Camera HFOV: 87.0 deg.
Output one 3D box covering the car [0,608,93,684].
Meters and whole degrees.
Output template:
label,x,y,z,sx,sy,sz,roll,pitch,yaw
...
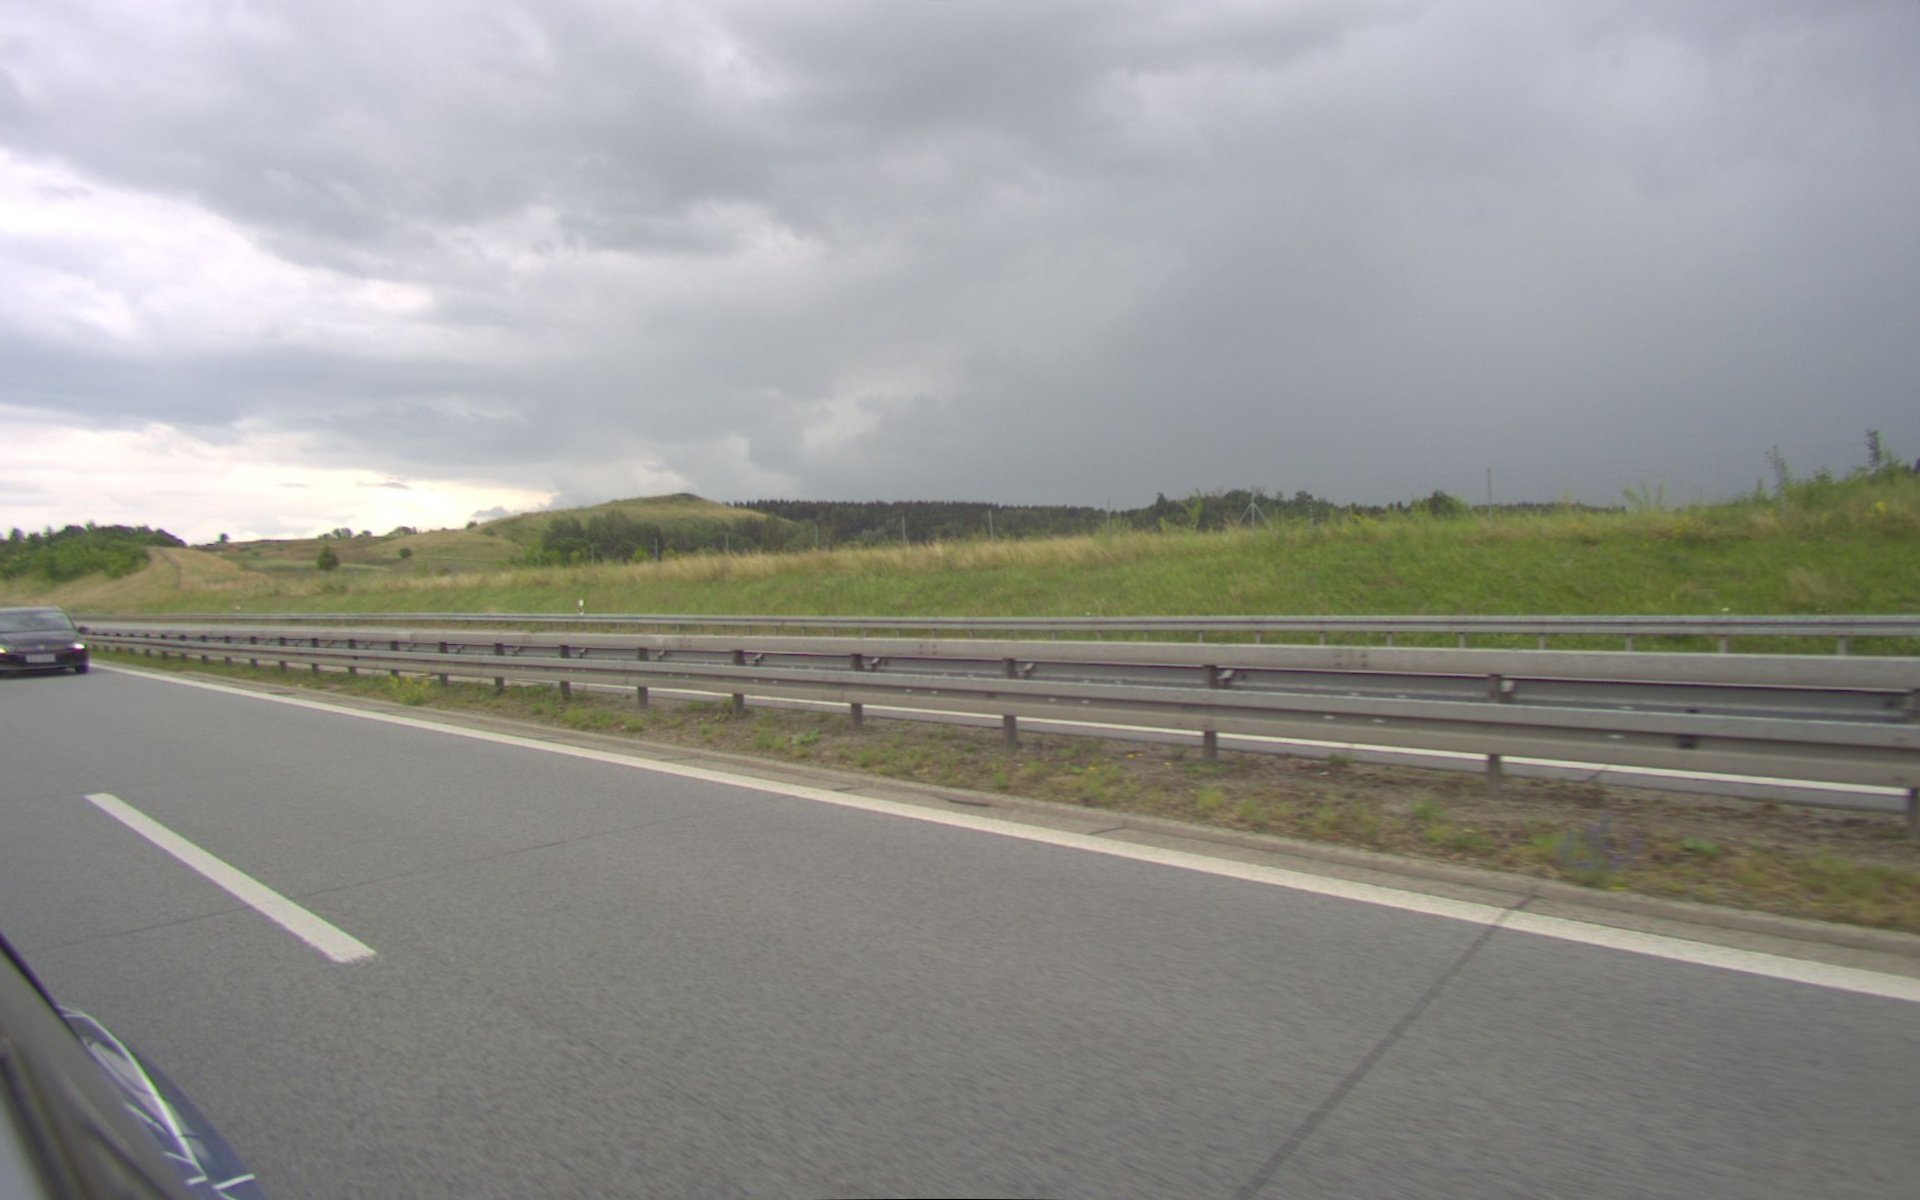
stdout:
label,x,y,z,sx,sy,sz,roll,pitch,yaw
car,-22.955,1.057,24.828,5.395,1.683,1.876,-1,0,42
